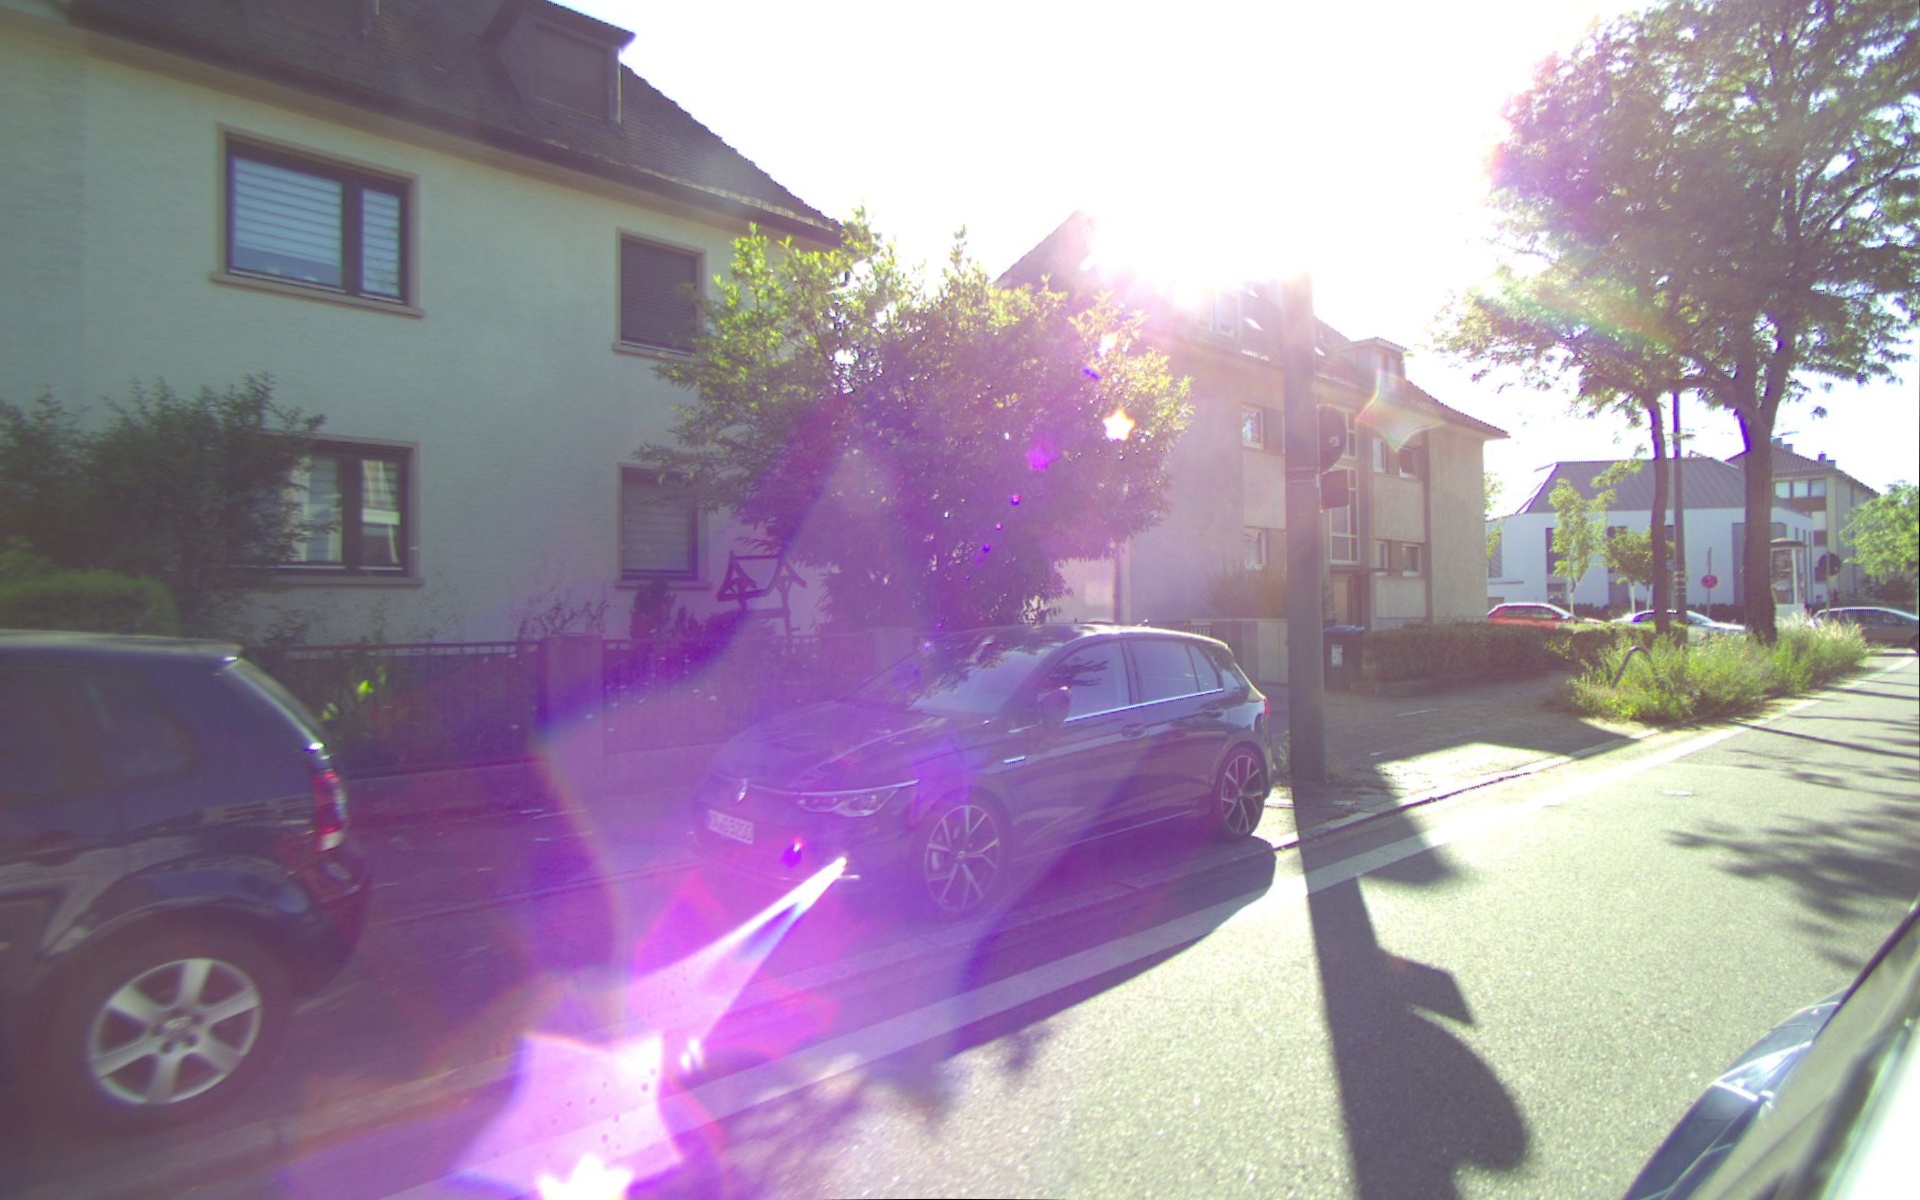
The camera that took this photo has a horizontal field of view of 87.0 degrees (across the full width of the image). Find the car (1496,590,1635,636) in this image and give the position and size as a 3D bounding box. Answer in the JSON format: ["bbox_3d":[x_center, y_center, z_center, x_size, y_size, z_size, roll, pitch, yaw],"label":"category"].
[{"bbox_3d":[23.046,0.511,38.622,1.948,1.663,4.166,0,-1,-43],"label":"car"}]

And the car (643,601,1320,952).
[{"bbox_3d":[0.405,0.771,6.530,4.367,1.514,1.751,0,0,-42],"label":"car"}]

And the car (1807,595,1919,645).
[{"bbox_3d":[29.616,0.617,31.929,1.943,1.527,4.002,0,-1,-31],"label":"car"}]

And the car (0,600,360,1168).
[{"bbox_3d":[-3.974,0.761,2.615,3.928,1.514,1.751,0,0,-42],"label":"car"}]

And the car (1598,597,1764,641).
[{"bbox_3d":[26.741,0.685,37.730,1.942,1.484,4.623,-2,0,-29],"label":"car"}]
